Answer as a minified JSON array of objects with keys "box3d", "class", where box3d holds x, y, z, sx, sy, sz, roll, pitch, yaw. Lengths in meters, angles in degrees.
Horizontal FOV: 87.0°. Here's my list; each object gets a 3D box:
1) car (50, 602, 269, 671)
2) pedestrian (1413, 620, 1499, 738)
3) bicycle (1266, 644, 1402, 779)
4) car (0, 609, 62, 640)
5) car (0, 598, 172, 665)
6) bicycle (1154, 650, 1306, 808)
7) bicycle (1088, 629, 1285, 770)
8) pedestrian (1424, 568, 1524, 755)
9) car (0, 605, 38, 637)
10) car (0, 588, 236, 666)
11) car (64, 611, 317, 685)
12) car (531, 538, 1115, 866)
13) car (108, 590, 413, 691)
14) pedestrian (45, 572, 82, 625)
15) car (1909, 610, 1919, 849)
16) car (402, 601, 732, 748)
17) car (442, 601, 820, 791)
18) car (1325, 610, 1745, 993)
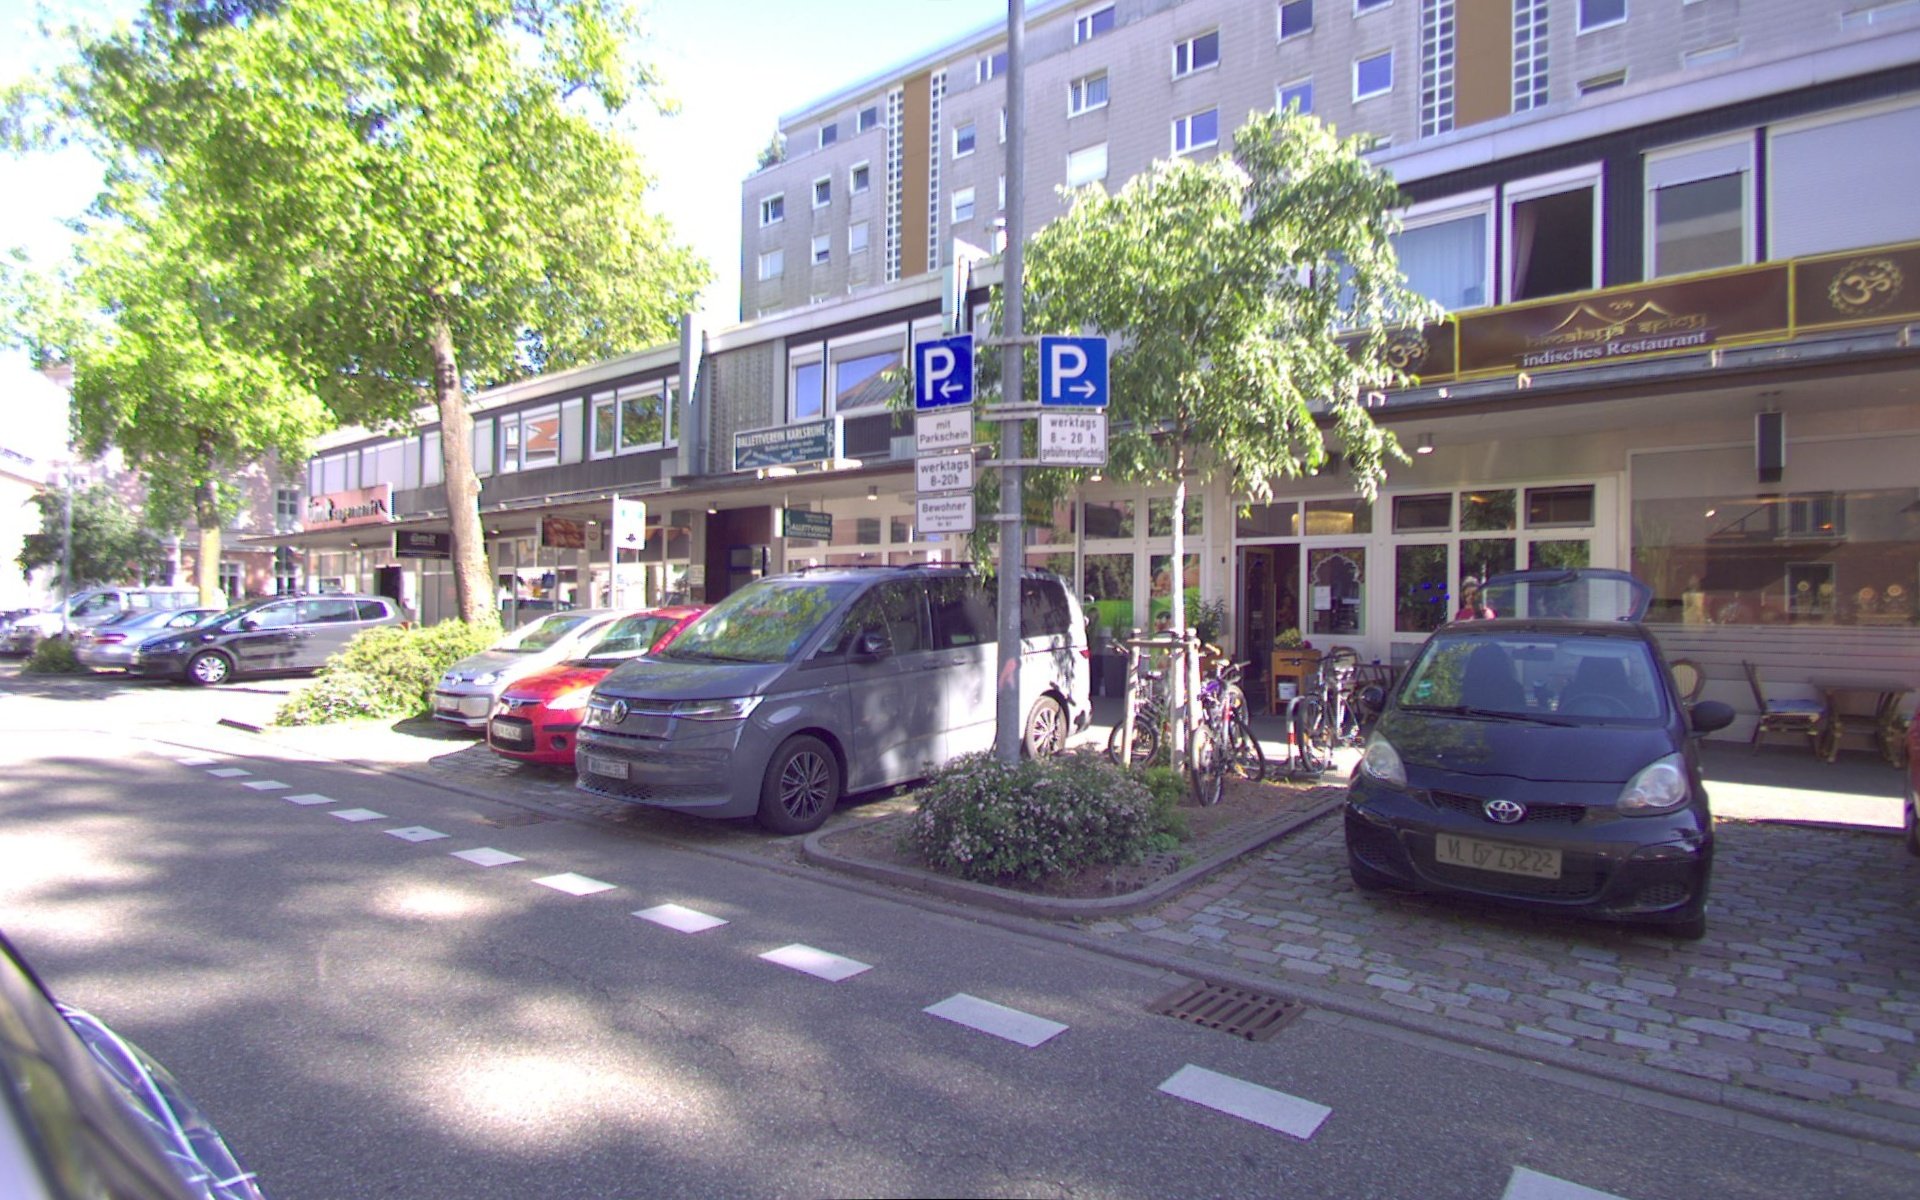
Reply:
[{"box3d":[-19.819,0.837,25.214,1.734,1.431,3.951,0,2,36],"class":"car"},{"box3d":[5.562,0.858,11.351,0.746,1.255,0.643,-1,-2,39],"class":"pedestrian"},{"box3d":[3.375,0.933,9.036,0.614,1.047,1.844,0,-2,38],"class":"bicycle"},{"box3d":[-52.630,1.398,57.396,1.482,1.674,4.013,1,-2,-26],"class":"car"},{"box3d":[-25.695,0.896,29.515,1.755,1.805,3.949,-1,-1,37],"class":"car"},{"box3d":[2.175,0.939,7.974,0.613,1.047,1.847,0,-2,33],"class":"bicycle"},{"box3d":[2.201,0.870,9.594,0.801,1.176,2.211,-1,-2,44],"class":"bicycle"},{"box3d":[4.953,0.573,9.762,0.571,1.725,0.637,1,-1,-23],"class":"pedestrian"},{"box3d":[-50.026,1.096,52.949,1.645,1.650,4.061,1,-1,-28],"class":"car"},{"box3d":[-23.440,0.701,28.228,1.906,1.984,4.937,0,0,36],"class":"car"},{"box3d":[-16.214,0.963,21.512,1.756,1.409,3.951,0,-1,36],"class":"car"},{"box3d":[-0.778,0.598,8.564,1.871,1.953,4.981,-1,0,39],"class":"car"},{"box3d":[-13.893,0.723,20.393,1.871,1.790,4.725,-1,0,36],"class":"car"},{"box3d":[-28.711,-0.031,32.403,0.807,1.652,0.718,0,-2,38],"class":"pedestrian"},{"box3d":[5.621,0.797,4.495,1.708,1.461,3.880,0,0,38],"class":"car"},{"box3d":[-4.848,0.811,12.840,1.671,1.573,3.551,-1,0,39],"class":"car"},{"box3d":[-3.170,0.805,10.404,1.654,1.566,3.534,-1,0,29],"class":"car"},{"box3d":[3.478,0.814,5.955,1.609,1.461,3.634,0,0,35],"class":"car"}]
